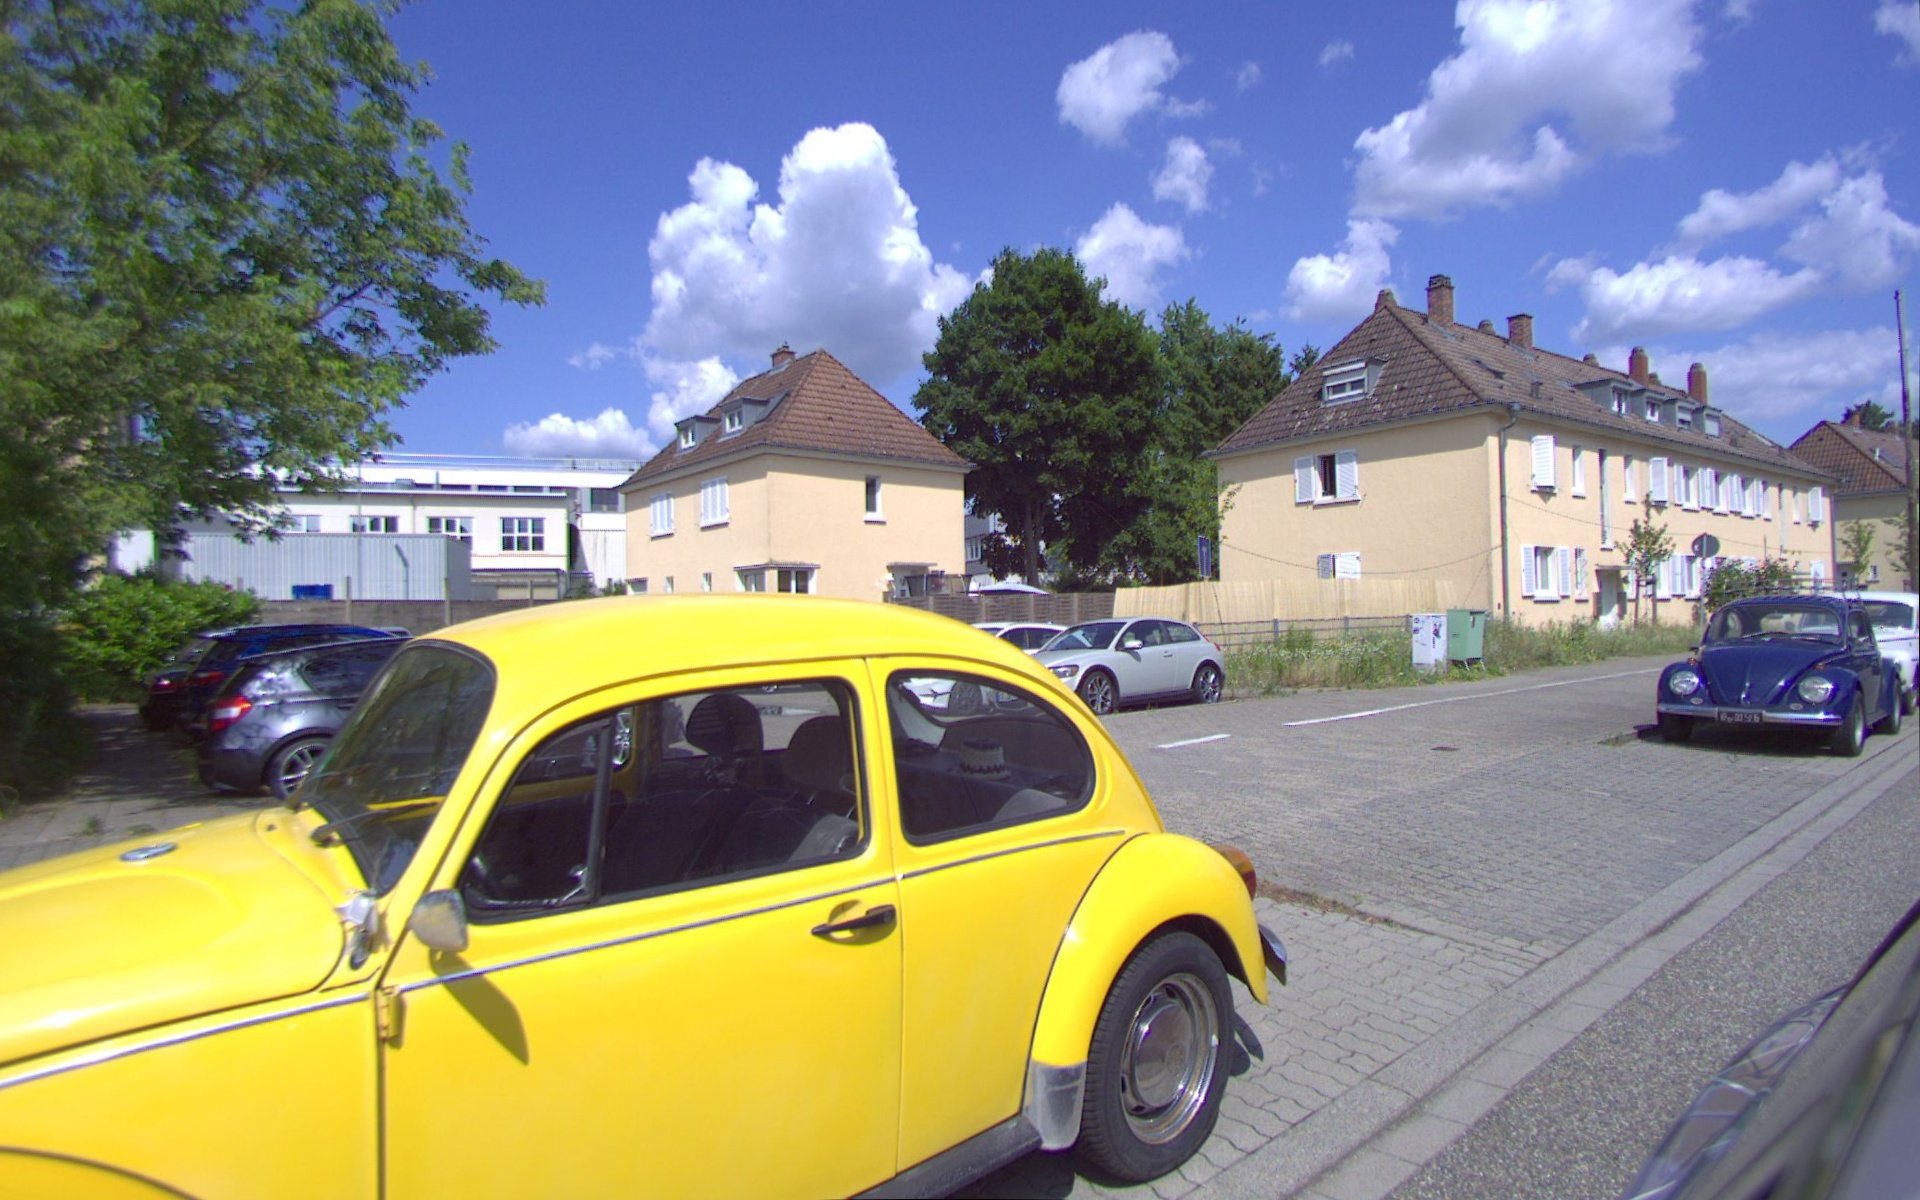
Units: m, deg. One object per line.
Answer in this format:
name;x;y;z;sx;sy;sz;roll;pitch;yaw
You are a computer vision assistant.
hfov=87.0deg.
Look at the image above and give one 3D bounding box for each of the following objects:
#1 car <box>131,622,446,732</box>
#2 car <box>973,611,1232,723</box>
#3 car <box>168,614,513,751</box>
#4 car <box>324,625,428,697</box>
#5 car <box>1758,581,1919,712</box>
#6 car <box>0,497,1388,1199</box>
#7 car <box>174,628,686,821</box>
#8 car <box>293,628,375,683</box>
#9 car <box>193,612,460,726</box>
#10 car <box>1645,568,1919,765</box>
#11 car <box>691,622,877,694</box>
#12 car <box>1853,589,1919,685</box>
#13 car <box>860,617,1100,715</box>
car;-10.598;1.136;16.144;4.014;1.419;1.639;-1;-1;-39
car;2.227;0.903;15.108;4.018;1.391;1.638;0;-1;-42
car;-8.676;1.045;14.341;4.014;1.566;1.640;0;2;-39
car;-13.845;1.379;23.903;1.612;1.454;4.085;-3;0;-37
car;12.529;0.546;13.775;4.378;1.532;1.581;-1;-1;-38
car;-0.639;0.624;2.561;3.863;1.501;1.639;1;1;-41
car;-4.827;0.999;9.576;4.010;1.372;1.641;-1;-1;-34
car;-17.995;1.543;29.032;1.612;1.382;4.085;-3;0;-37
car;-11.707;1.191;18.840;4.015;1.685;1.639;-3;0;-39
car;8.685;0.562;10.495;4.172;1.662;1.551;0;-1;-41
car;-3.843;1.259;22.628;1.633;1.392;4.030;-4;-3;39
car;16.535;0.540;16.772;4.746;1.468;1.710;-1;-1;-38
car;0.420;1.019;17.045;4.018;1.391;1.638;0;-1;-42
